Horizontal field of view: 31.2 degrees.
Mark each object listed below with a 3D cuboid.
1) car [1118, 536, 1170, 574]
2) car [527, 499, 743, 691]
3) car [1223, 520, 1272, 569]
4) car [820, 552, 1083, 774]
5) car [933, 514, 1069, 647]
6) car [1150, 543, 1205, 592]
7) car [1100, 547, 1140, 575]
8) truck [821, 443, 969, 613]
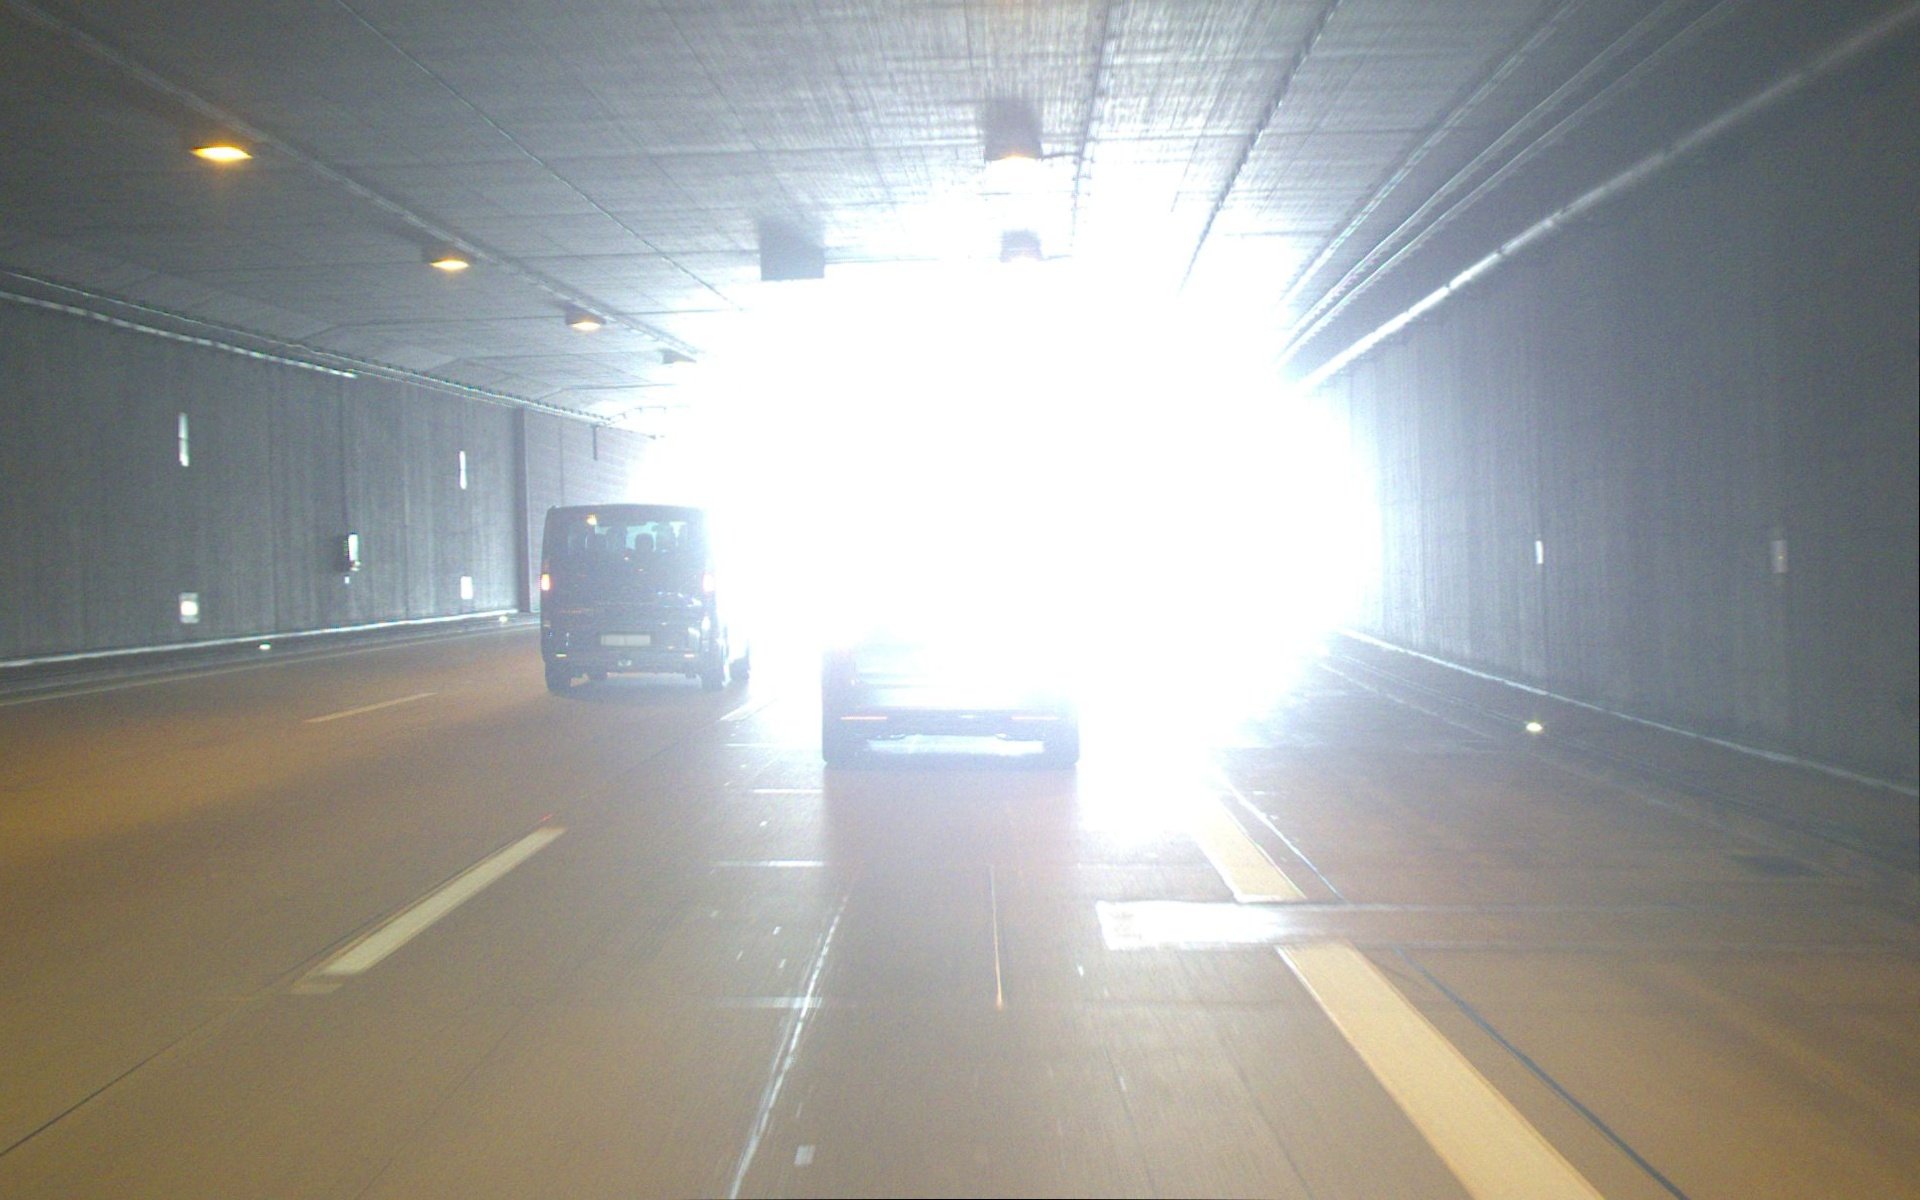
[{"bbox_3d":[8.539,-2.078,159.203,1.994,1.626,3.998,0,-1,9],"label":"car"},{"bbox_3d":[-3.411,-0.081,36.739,1.909,1.938,3.871,0,1,1],"label":"car"},{"bbox_3d":[12.916,-2.458,154.219,1.994,2.007,3.998,0,-2,7],"label":"car"},{"bbox_3d":[-0.037,0.390,24.669,1.742,1.459,3.871,0,1,1],"label":"car"},{"bbox_3d":[0.635,-0.302,50.268,1.857,1.848,4.000,1,1,2],"label":"car"},{"bbox_3d":[7.929,-1.156,124.958,1.931,1.637,3.999,0,-2,5],"label":"car"},{"bbox_3d":[9.556,-2.354,205.142,1.931,1.637,3.999,1,1,9],"label":"car"},{"bbox_3d":[-1.399,-1.624,78.660,3.039,3.661,7.392,1,1,1],"label":"truck"}]
